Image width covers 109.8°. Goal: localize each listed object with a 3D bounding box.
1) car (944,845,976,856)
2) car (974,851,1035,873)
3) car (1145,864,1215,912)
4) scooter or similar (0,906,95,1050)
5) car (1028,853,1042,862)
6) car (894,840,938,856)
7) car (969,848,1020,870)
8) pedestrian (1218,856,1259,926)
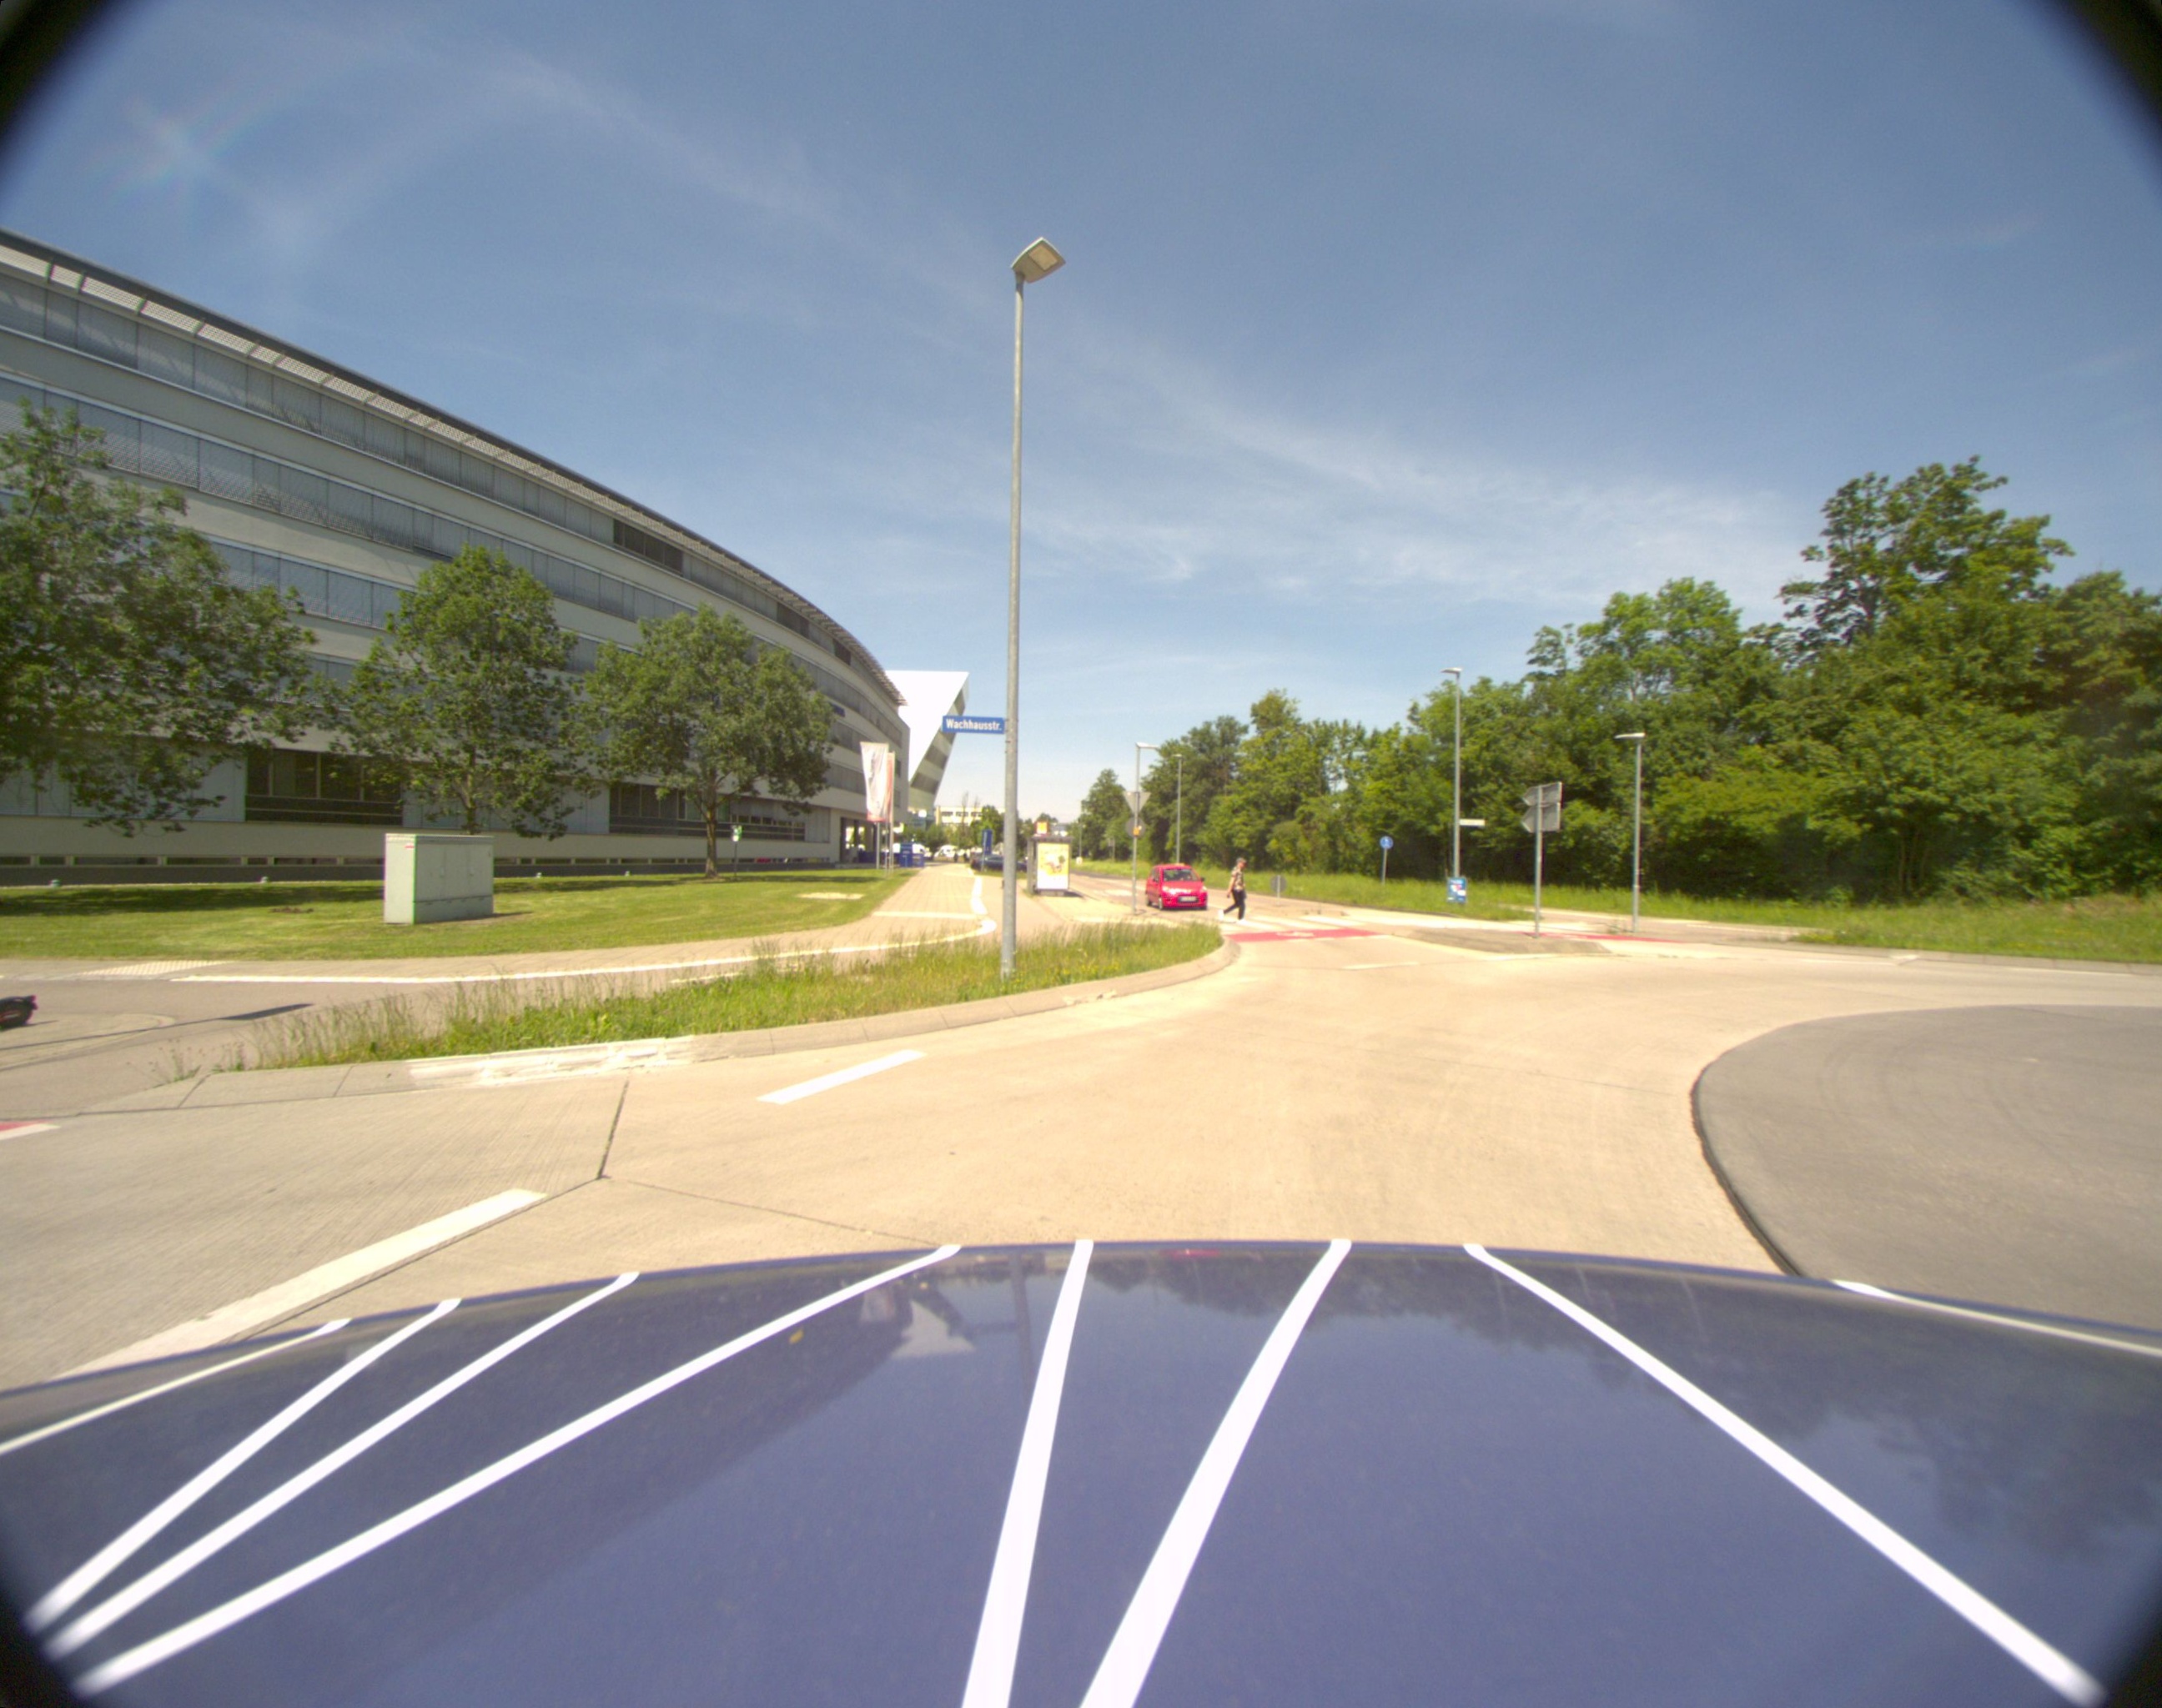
[{"bbox_3d":[-25.199,-0.764,158.181,6.497,2.137,2.164,0,1,-3],"label":"car"},{"bbox_3d":[-5.953,0.640,58.939,4.583,1.423,1.825,3,1,-10],"label":"car"},{"bbox_3d":[3.400,1.132,26.740,1.663,1.494,3.354,0,1,-7],"label":"car"},{"bbox_3d":[-9.603,1.096,6.458,0.447,1.195,1.401,1,1,19],"label":"scooter or similar"},{"bbox_3d":[-7.647,0.584,126.029,2.000,1.470,4.286,2,-1,-8],"label":"car"},{"bbox_3d":[-28.129,-1.068,129.851,6.966,2.647,2.254,0,1,-1],"label":"car"},{"bbox_3d":[-7.045,0.411,61.693,4.000,1.645,1.838,1,1,-7],"label":"car"},{"bbox_3d":[4.188,0.971,20.259,0.710,1.811,0.826,3,1,-9],"label":"pedestrian"}]
